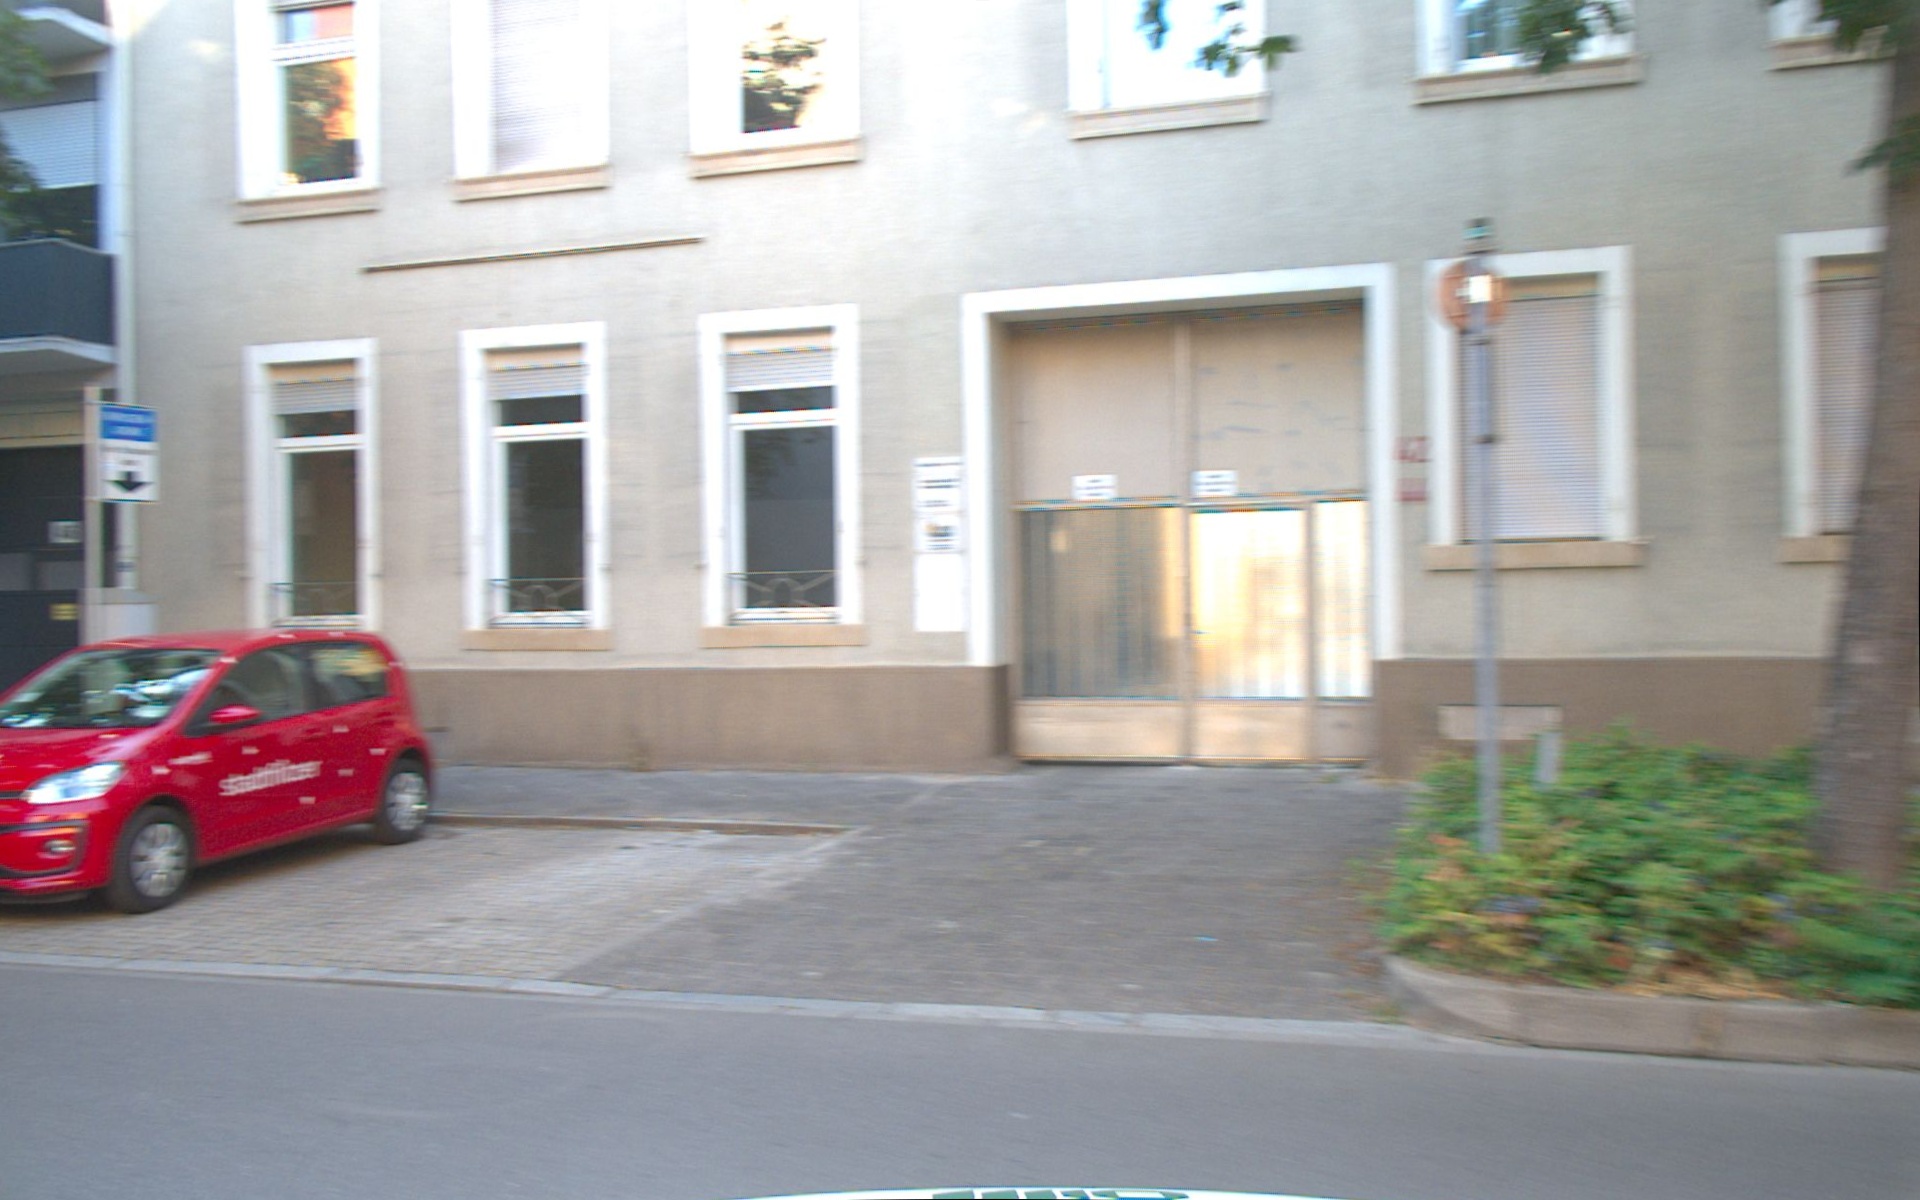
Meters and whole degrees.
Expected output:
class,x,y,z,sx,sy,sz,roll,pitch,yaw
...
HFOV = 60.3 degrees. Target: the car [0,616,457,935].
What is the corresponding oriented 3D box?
class,x,y,z,sx,sy,sz,roll,pitch,yaw
car,-4.801,0.907,10.202,1.527,1.501,3.671,-1,0,15
